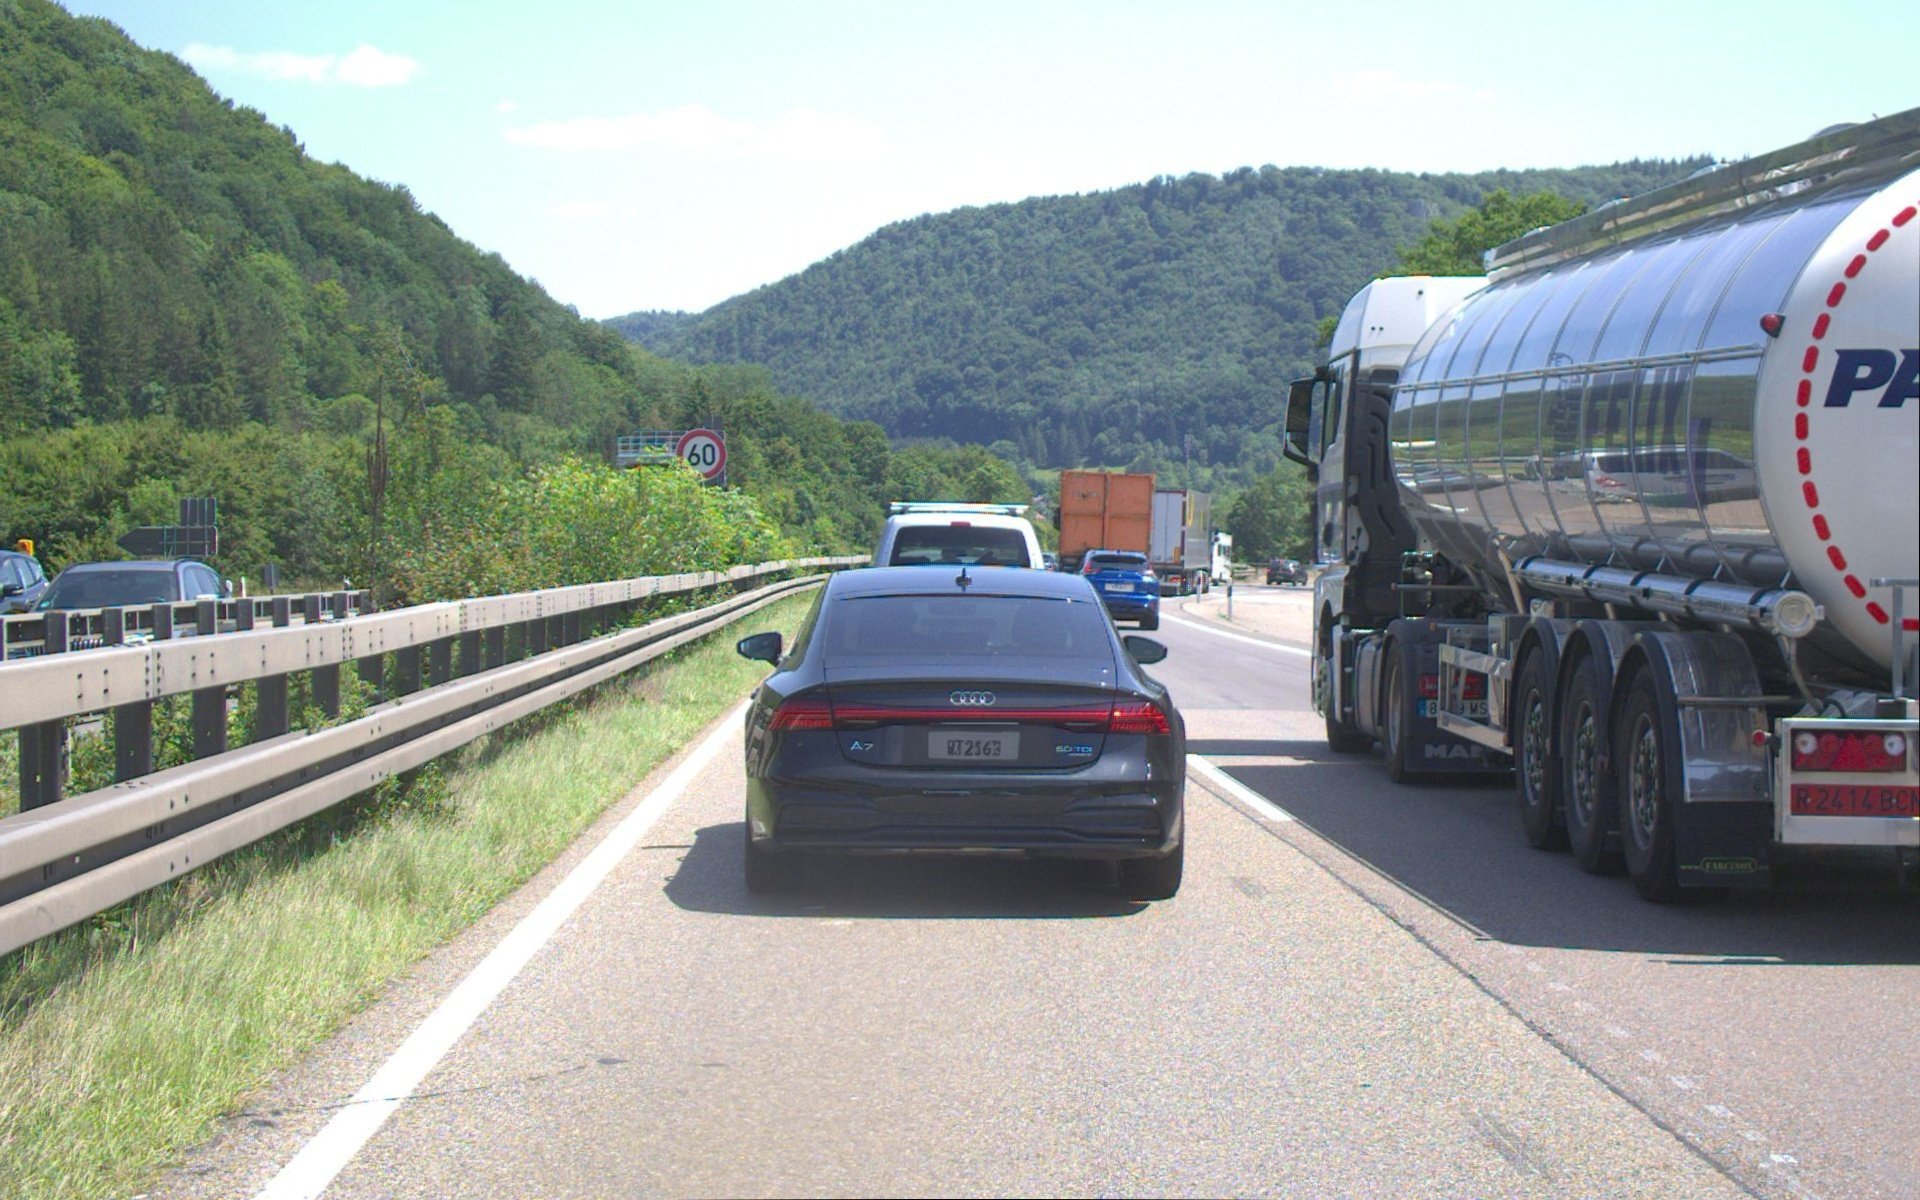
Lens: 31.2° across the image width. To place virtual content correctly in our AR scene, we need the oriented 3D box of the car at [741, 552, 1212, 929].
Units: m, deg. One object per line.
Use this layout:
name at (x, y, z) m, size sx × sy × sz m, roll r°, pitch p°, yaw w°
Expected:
car at (-0.061, 0.534, 15.719) m, size 1.849 × 1.483 × 4.083 m, roll 0°, pitch 1°, yaw -4°

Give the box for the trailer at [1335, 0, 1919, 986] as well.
trailer at (4.049, -0.568, 18.291) m, size 2.538 × 3.722 × 11.892 m, roll 0°, pitch 1°, yaw -1°

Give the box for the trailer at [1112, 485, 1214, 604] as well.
trailer at (7.690, -2.137, 131.779) m, size 3.015 × 4.367 × 10.986 m, roll 0°, pitch 1°, yaw -1°

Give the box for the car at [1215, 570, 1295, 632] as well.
car at (7.416, 0.010, 86.706) m, size 1.747 × 1.525 × 4.000 m, roll 0°, pitch 1°, yaw 1°

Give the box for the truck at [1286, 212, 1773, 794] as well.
truck at (3.929, -0.663, 24.828) m, size 2.511 × 3.745 × 5.246 m, roll 0°, pitch 1°, yaw -1°

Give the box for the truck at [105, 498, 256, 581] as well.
truck at (-26.240, -2.018, 116.119) m, size 3.580 × 2.686 × 8.449 m, roll 0°, pitch 1°, yaw -3°

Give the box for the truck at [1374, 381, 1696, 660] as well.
truck at (9.134, -1.259, 56.688) m, size 2.817 × 3.989 × 14.956 m, roll 0°, pitch 1°, yaw 0°

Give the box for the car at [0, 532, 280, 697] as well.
car at (-8.202, 0.105, 34.146) m, size 1.993 × 1.514 × 4.678 m, roll 0°, pitch 1°, yaw -1°

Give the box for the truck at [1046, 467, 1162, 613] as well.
truck at (4.145, -1.781, 101.984) m, size 2.817 × 3.989 × 14.956 m, roll 0°, pitch 1°, yaw 0°

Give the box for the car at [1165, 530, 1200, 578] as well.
car at (13.867, -2.862, 214.239) m, size 1.993 × 2.925 × 4.898 m, roll 0°, pitch 1°, yaw 1°

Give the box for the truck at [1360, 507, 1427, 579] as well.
truck at (27.517, -3.621, 217.685) m, size 3.795 × 4.399 × 14.950 m, roll 0°, pitch 1°, yaw 9°

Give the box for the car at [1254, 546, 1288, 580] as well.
car at (18.656, -2.253, 206.591) m, size 1.994 × 2.007 × 3.999 m, roll 0°, pitch 1°, yaw 5°

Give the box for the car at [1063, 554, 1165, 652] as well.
car at (3.232, 0.039, 72.917) m, size 1.993 × 1.996 × 4.000 m, roll -1°, pitch 1°, yaw 1°

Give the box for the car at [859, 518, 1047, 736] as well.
car at (-0.088, 0.193, 30.947) m, size 1.576 × 1.827 × 4.000 m, roll 0°, pitch 1°, yaw -1°

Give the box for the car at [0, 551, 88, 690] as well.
car at (-12.159, 0.213, 41.939) m, size 1.922 × 1.615 × 4.561 m, roll 0°, pitch 1°, yaw -1°
